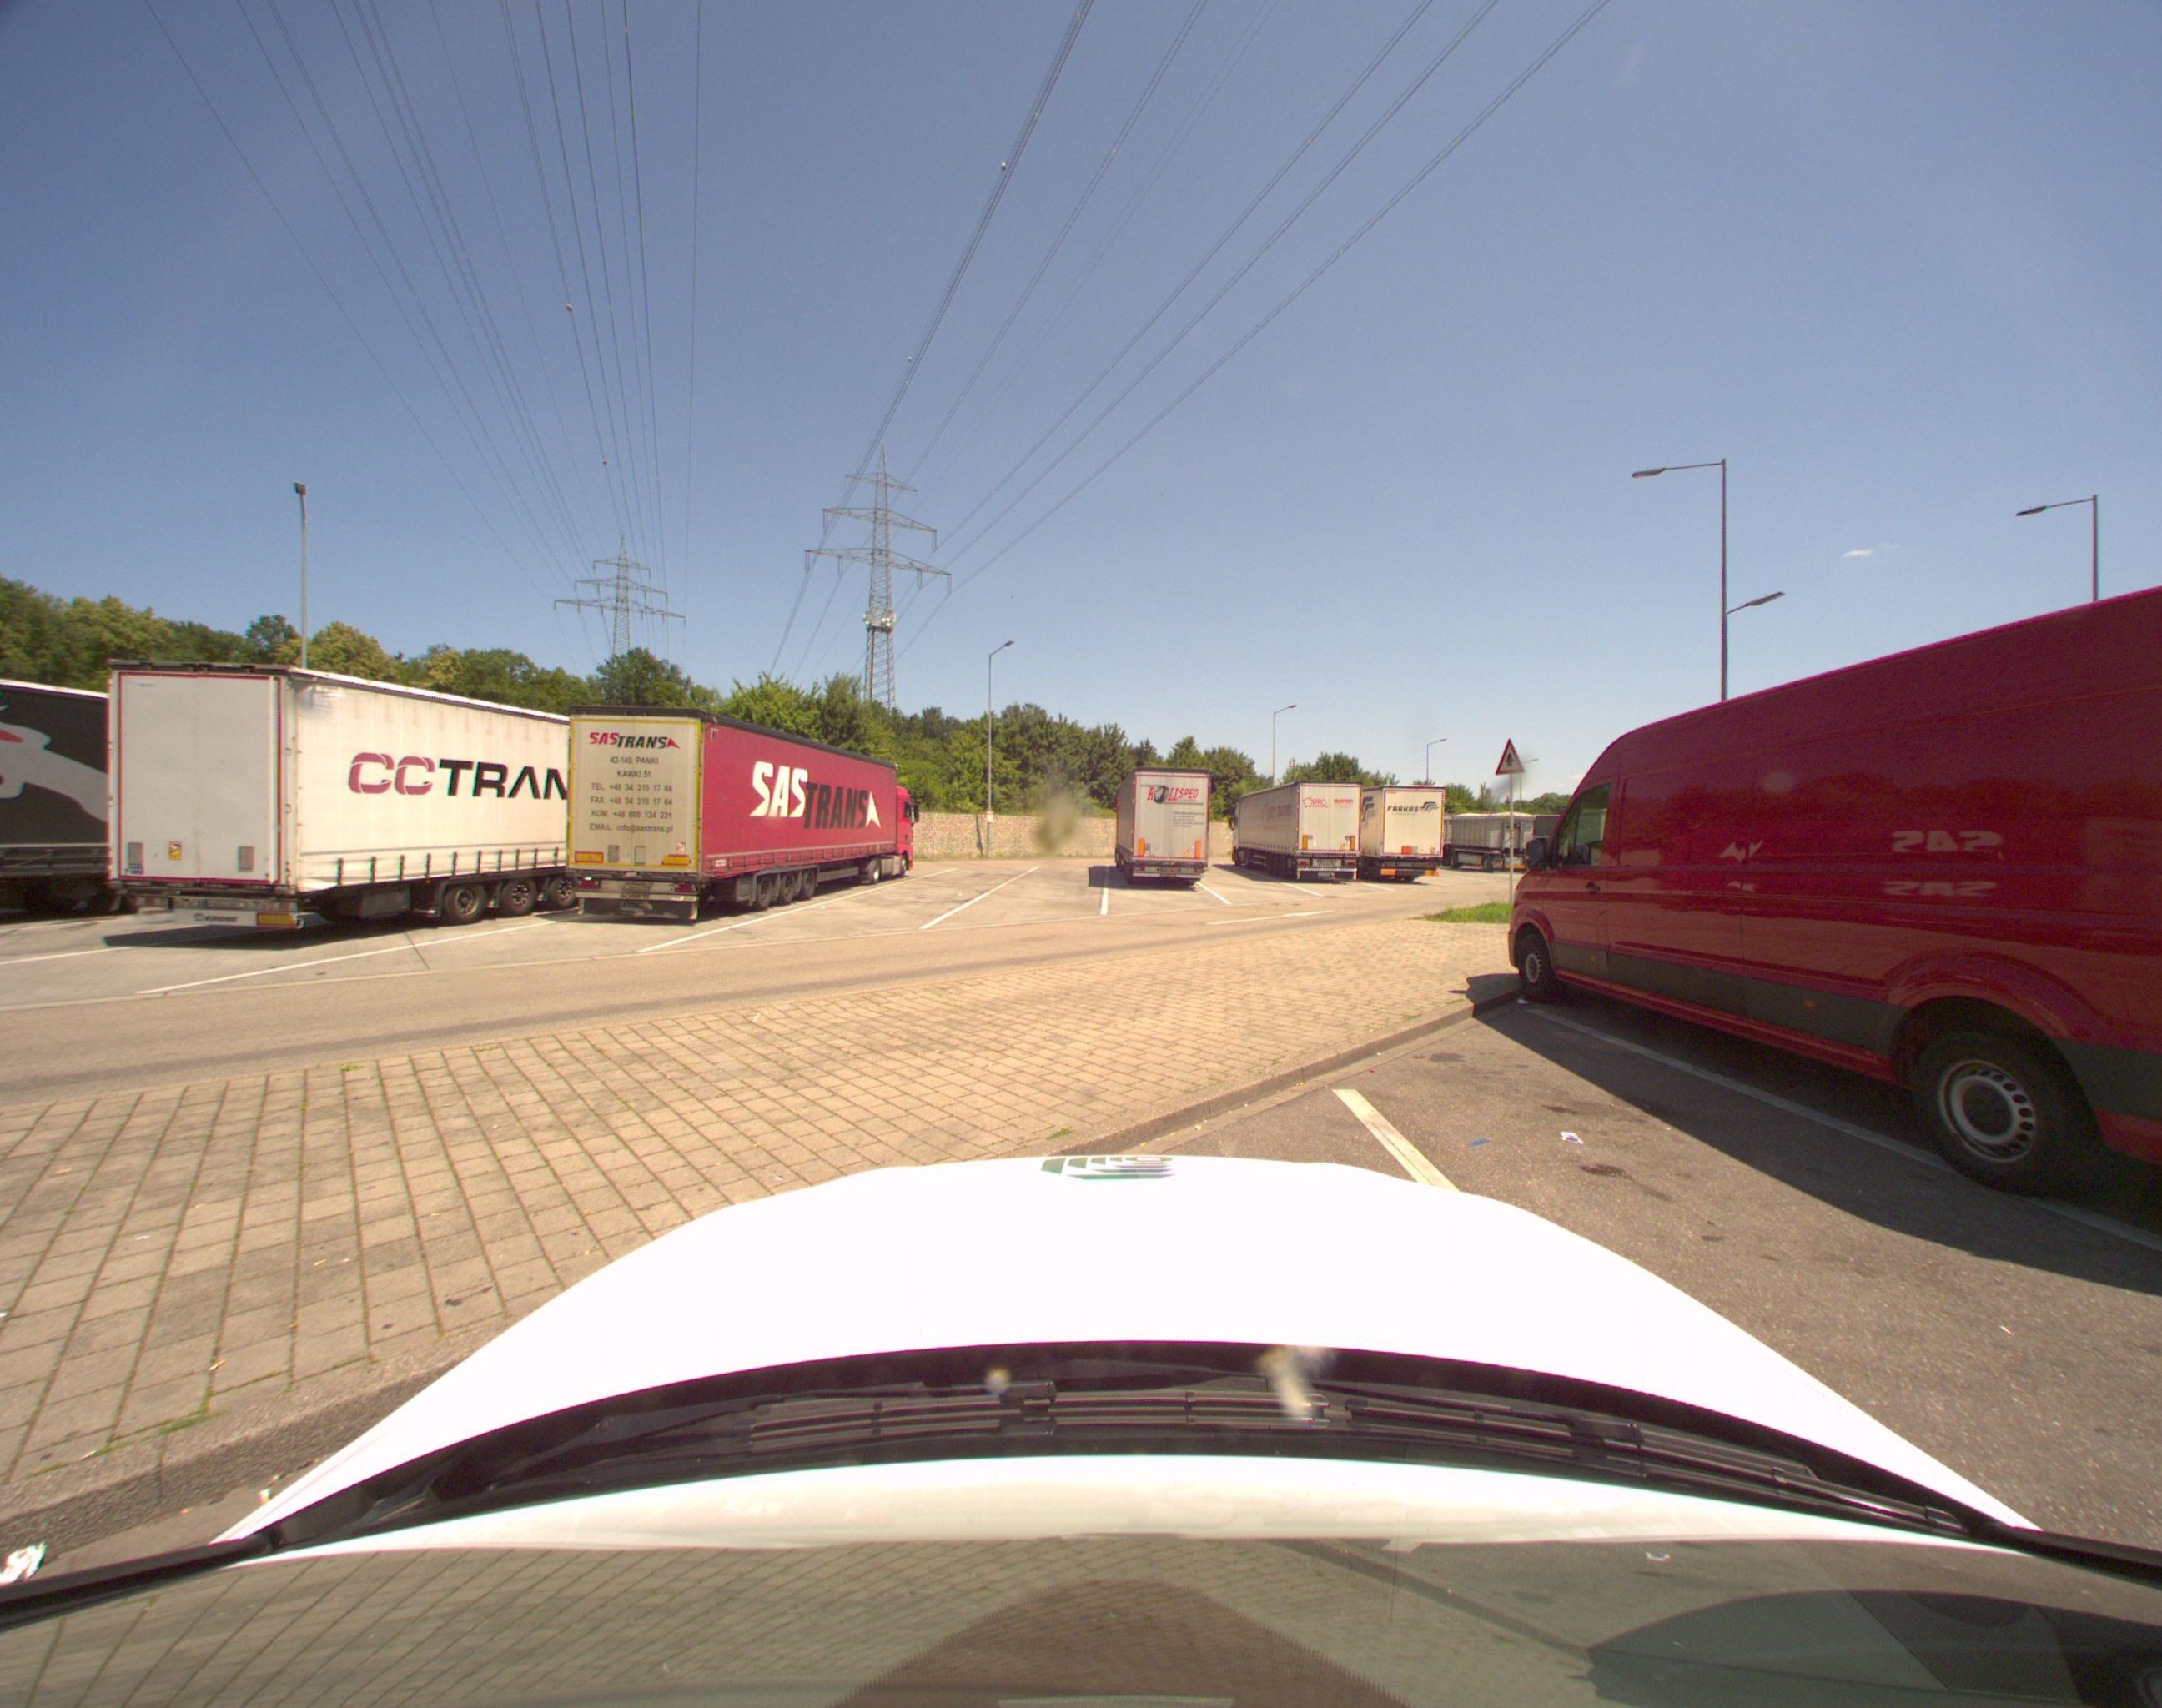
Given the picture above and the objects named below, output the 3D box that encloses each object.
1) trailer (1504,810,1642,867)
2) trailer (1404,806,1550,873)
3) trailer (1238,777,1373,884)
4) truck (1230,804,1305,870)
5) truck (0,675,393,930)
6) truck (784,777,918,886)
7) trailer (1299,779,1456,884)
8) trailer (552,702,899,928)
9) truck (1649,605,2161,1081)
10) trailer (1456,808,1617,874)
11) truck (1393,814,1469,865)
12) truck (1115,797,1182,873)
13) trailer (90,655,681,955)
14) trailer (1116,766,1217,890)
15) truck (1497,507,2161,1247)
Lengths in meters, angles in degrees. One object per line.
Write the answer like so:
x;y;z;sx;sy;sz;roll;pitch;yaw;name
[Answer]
38.222;-1.308;64.208;2.847;3.904;13.770;1;2;2;trailer
24.444;-1.002;51.524;2.847;3.599;13.770;1;2;2;trailer
9.986;-1.123;38.322;2.847;4.109;13.770;1;2;2;trailer
10.183;-0.981;45.086;2.855;3.362;5.977;1;2;2;truck
-18.540;-0.933;15.848;2.696;4.070;8.694;1;2;2;truck
-7.825;-0.792;28.563;2.801;3.362;5.977;1;2;2;truck
13.614;-1.099;39.247;2.847;4.109;13.770;1;2;2;trailer
-8.038;-0.925;21.746;2.811;4.070;13.770;1;2;2;trailer
8.013;-0.074;6.908;2.406;2.906;6.466;-1;0;6;truck
28.422;-0.935;52.036;2.847;3.599;13.770;1;2;2;trailer
24.629;-1.090;57.621;2.855;3.362;5.977;1;2;2;truck
3.145;-0.940;39.433;2.855;3.362;5.977;1;2;2;truck
-12.152;-0.838;16.441;2.696;4.101;10.395;1;2;2;trailer
3.055;-1.050;33.230;2.848;3.971;13.767;1;2;1;trailer
5.154;0.077;5.474;2.001;2.651;6.466;-1;0;6;truck
